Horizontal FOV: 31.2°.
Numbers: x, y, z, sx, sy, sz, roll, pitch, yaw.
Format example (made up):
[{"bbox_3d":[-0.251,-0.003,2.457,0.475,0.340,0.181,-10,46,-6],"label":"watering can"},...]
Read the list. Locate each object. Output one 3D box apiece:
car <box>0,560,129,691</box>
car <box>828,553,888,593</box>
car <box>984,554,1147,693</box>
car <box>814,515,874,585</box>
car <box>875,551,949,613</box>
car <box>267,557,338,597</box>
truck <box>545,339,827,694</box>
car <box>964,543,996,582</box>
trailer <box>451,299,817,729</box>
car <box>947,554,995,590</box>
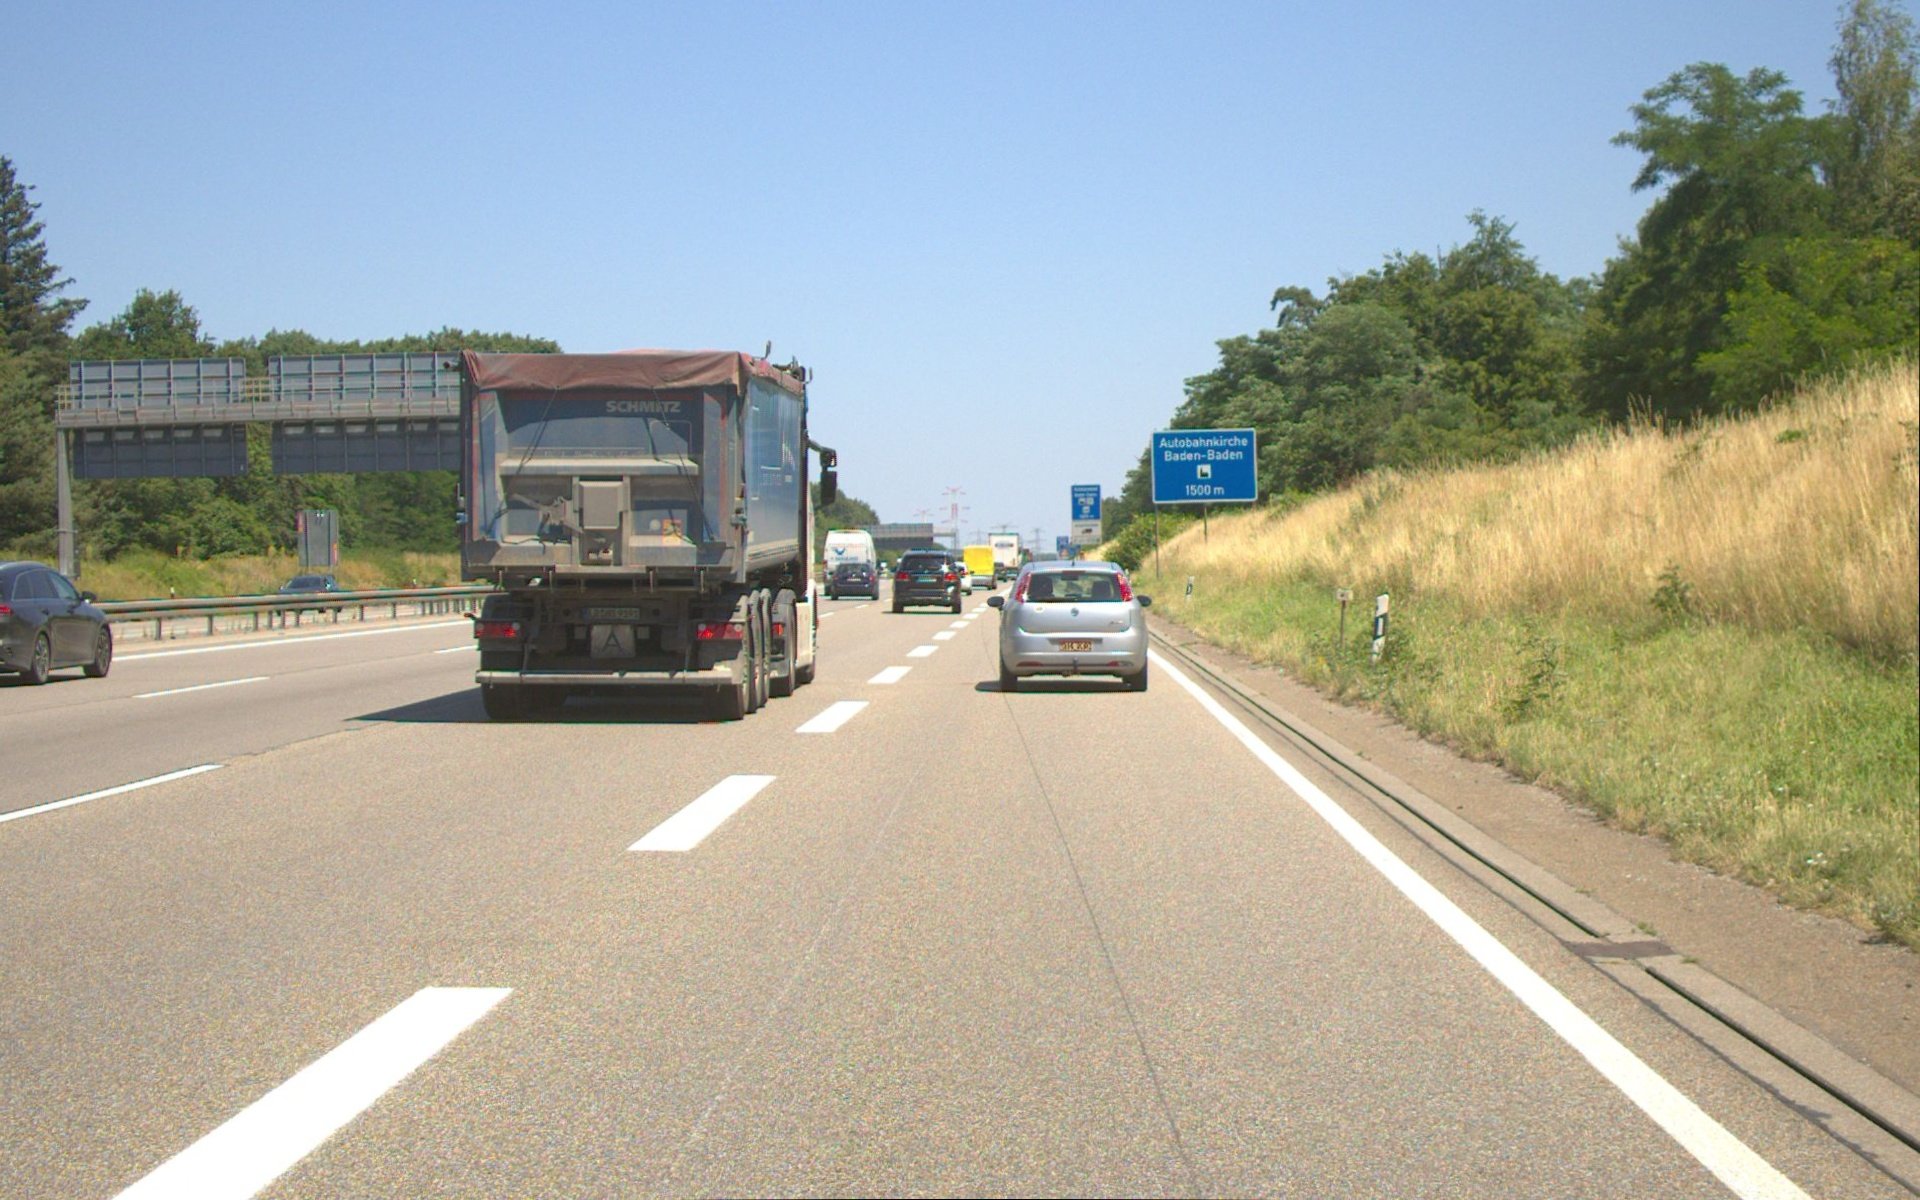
[{"bbox_3d":[-11.435,0.254,40.778,1.832,1.427,4.999,0,1,2],"label":"car"},{"bbox_3d":[-3.829,-1.028,129.496,1.894,1.464,4.261,1,1,3],"label":"car"},{"bbox_3d":[1.179,0.232,39.807,1.719,1.486,3.737,0,1,-1],"label":"car"},{"bbox_3d":[-4.955,-2.160,147.768,2.260,2.940,6.114,1,1,1],"label":"car"},{"bbox_3d":[-1.332,-0.516,96.781,1.832,1.666,4.000,1,1,2],"label":"car"},{"bbox_3d":[-25.721,-0.904,134.611,1.826,1.504,4.743,-1,1,1],"label":"car"},{"bbox_3d":[-3.012,-0.946,39.342,2.684,3.745,5.944,0,1,0],"label":"truck"},{"bbox_3d":[1.033,-1.960,179.555,1.611,2.007,4.000,1,1,0],"label":"car"},{"bbox_3d":[-3.043,-0.852,34.676,2.737,3.745,9.109,0,1,0],"label":"trailer"},{"bbox_3d":[0.471,-1.196,148.139,1.821,1.486,3.736,0,0,4],"label":"car"}]
